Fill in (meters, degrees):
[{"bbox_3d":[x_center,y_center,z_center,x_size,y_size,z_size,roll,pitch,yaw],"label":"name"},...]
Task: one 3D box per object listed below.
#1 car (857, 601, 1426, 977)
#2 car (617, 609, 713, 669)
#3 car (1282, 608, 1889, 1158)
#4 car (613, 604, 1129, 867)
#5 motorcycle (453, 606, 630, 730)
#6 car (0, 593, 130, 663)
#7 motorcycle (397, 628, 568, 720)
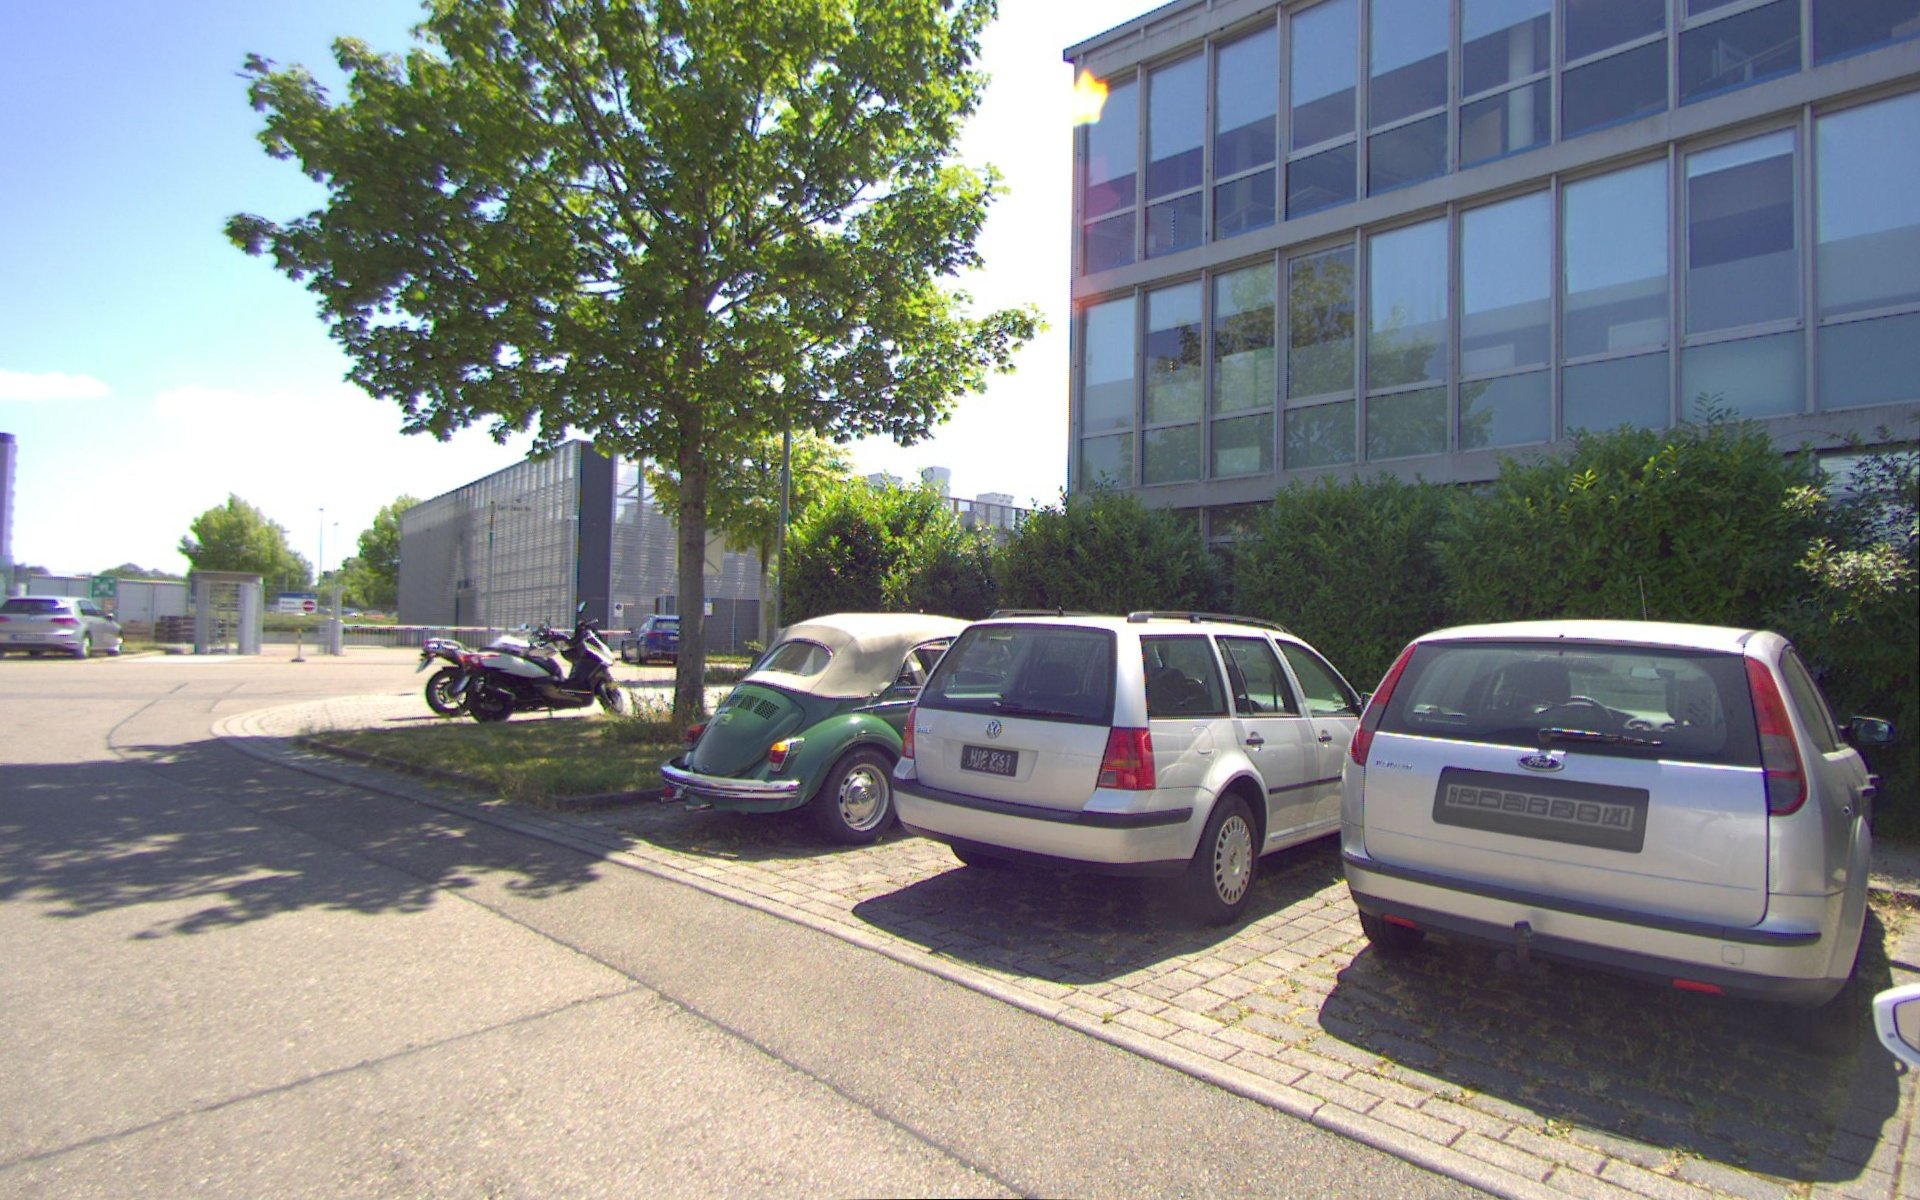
[{"bbox_3d":[1.362,0.836,6.053,1.628,1.498,3.873,1,-2,41],"label":"car"},{"bbox_3d":[-8.735,1.116,29.548,1.975,1.616,3.972,2,-1,-27],"label":"car"},{"bbox_3d":[3.378,0.869,4.945,1.701,1.498,4.323,0,-2,44],"label":"car"},{"bbox_3d":[-0.437,0.838,7.676,1.628,1.467,3.873,1,-2,41],"label":"car"},{"bbox_3d":[-5.101,0.811,12.370,0.477,1.408,1.980,1,-1,40],"label":"motorcycle"},{"bbox_3d":[-21.711,0.647,24.278,1.632,1.542,3.973,2,-2,-27],"label":"car"},{"bbox_3d":[-6.228,0.941,13.208,0.477,1.123,1.980,1,-1,40],"label":"motorcycle"}]
